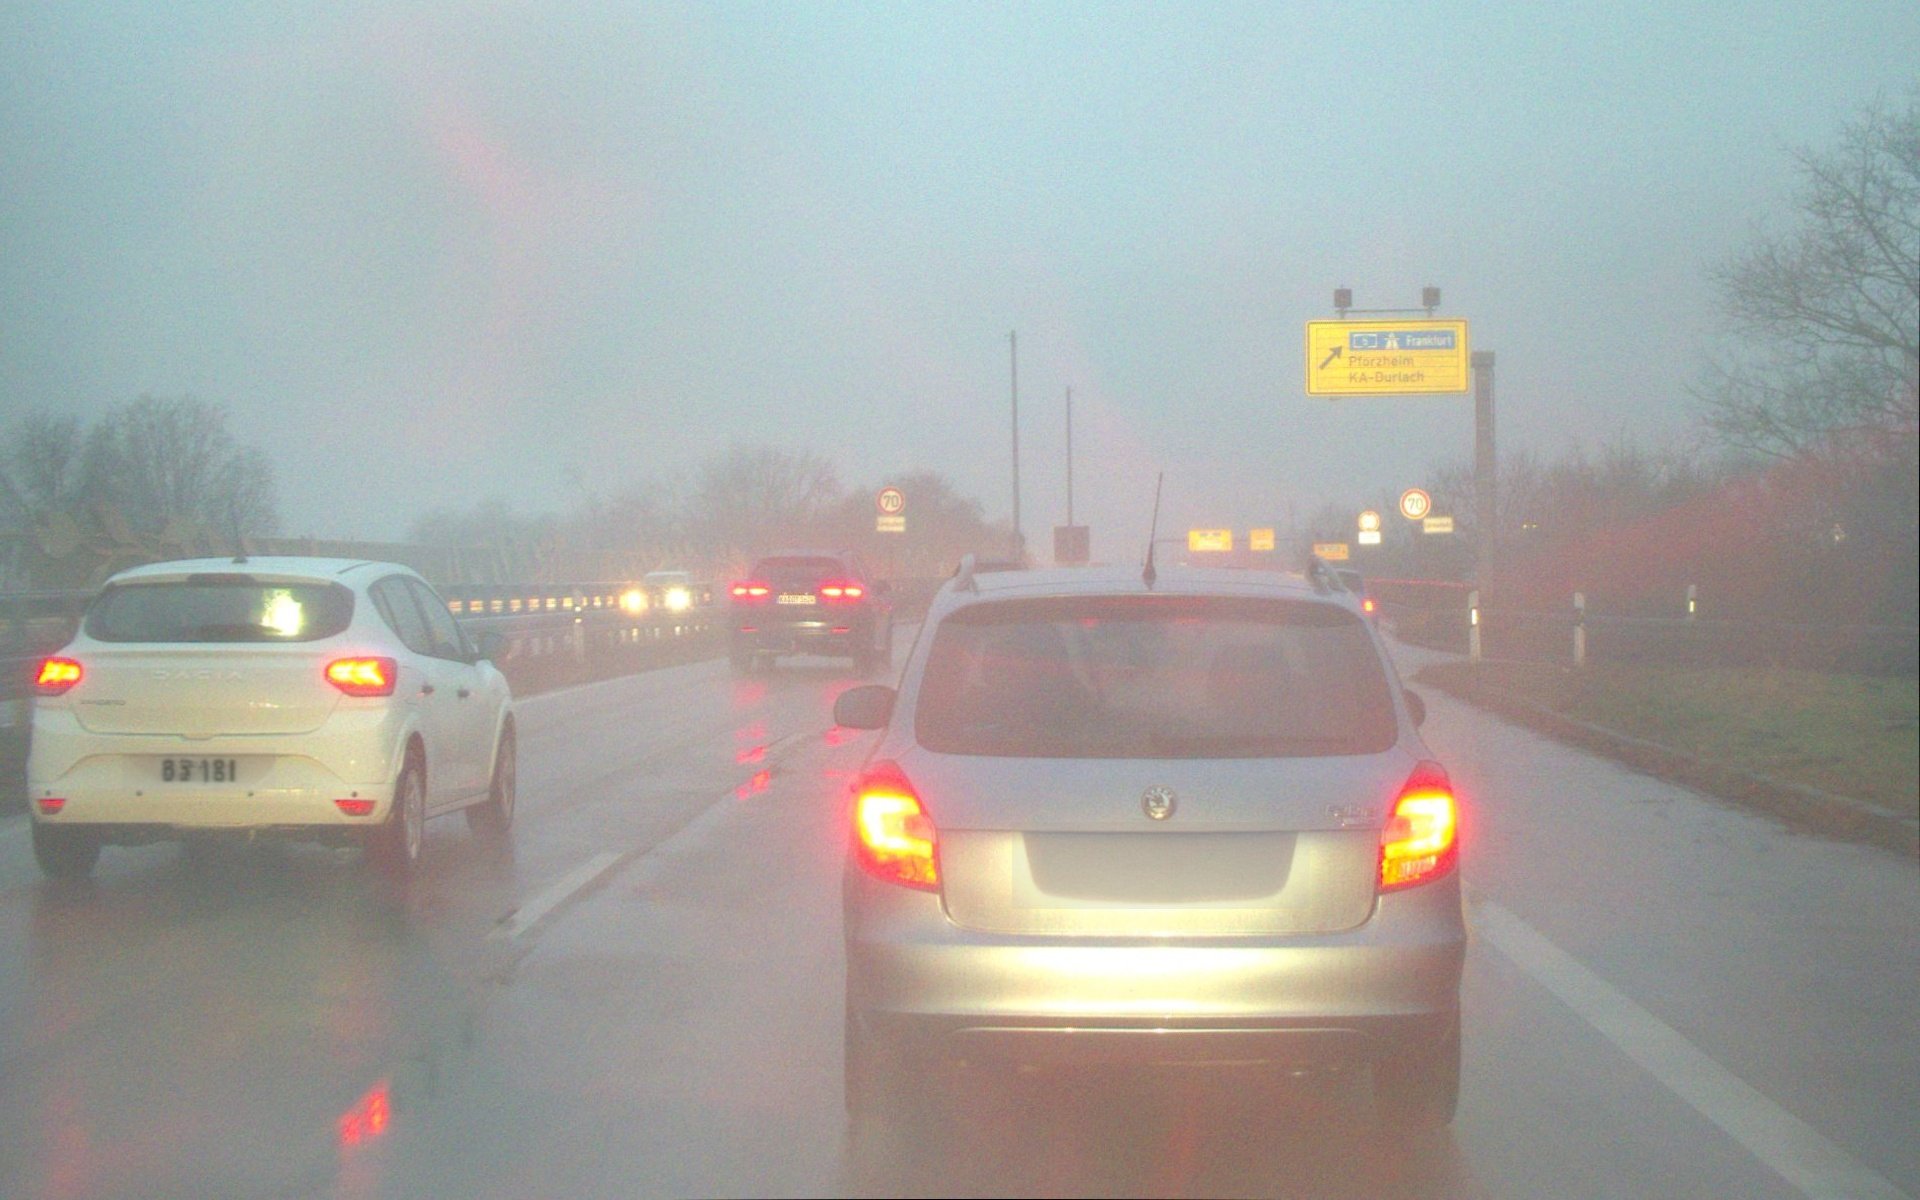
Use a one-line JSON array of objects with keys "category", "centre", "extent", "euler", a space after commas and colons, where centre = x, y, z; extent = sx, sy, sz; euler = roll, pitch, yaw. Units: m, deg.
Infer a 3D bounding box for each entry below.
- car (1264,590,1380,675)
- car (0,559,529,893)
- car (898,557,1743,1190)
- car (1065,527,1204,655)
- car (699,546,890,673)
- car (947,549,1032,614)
[{"category": "car", "centre": [6.957, 0.605, 66.377], "extent": [1.789, 1.540, 4.000], "euler": [-1, 1, 0]}, {"category": "car", "centre": [-3.279, 0.523, 17.013], "extent": [1.724, 1.435, 4.226], "euler": [0, 1, 1]}, {"category": "car", "centre": [0.909, 0.641, 10.249], "extent": [1.993, 1.495, 4.137], "euler": [0, 0, 2]}, {"category": "car", "centre": [2.563, -0.156, 49.653], "extent": [1.897, 1.761, 4.308], "euler": [0, 1, 4]}, {"category": "car", "centre": [-2.173, 0.096, 46.435], "extent": [1.994, 1.596, 4.308], "euler": [1, 1, 5]}, {"category": "car", "centre": [0.754, -0.472, 84.515], "extent": [1.790, 1.540, 3.999], "euler": [0, 1, 5]}]
